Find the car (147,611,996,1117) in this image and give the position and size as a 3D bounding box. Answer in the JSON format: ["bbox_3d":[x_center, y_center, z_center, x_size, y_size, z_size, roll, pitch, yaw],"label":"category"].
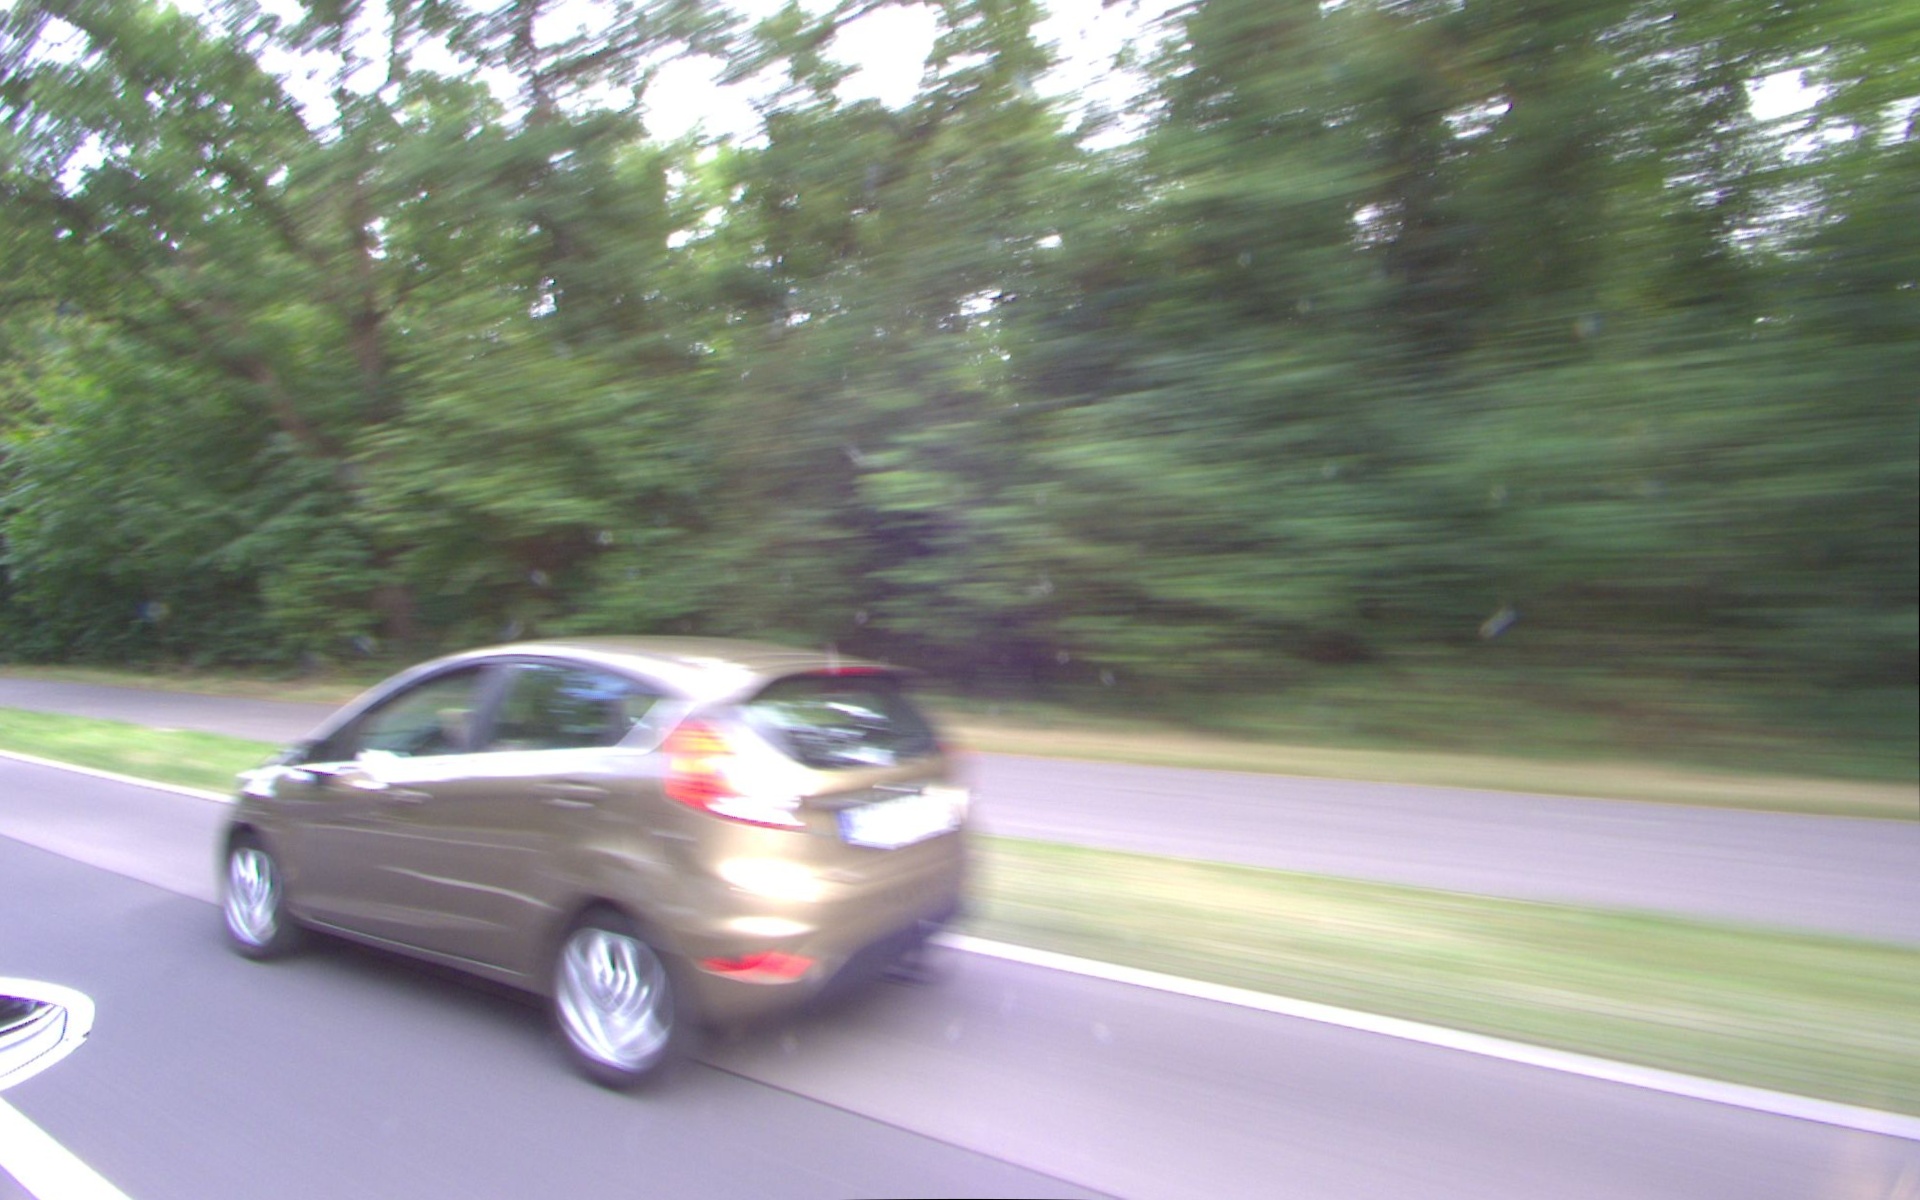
[{"bbox_3d":[-1.936,0.841,4.619,3.943,1.437,1.633,-2,-3,32],"label":"car"}]
